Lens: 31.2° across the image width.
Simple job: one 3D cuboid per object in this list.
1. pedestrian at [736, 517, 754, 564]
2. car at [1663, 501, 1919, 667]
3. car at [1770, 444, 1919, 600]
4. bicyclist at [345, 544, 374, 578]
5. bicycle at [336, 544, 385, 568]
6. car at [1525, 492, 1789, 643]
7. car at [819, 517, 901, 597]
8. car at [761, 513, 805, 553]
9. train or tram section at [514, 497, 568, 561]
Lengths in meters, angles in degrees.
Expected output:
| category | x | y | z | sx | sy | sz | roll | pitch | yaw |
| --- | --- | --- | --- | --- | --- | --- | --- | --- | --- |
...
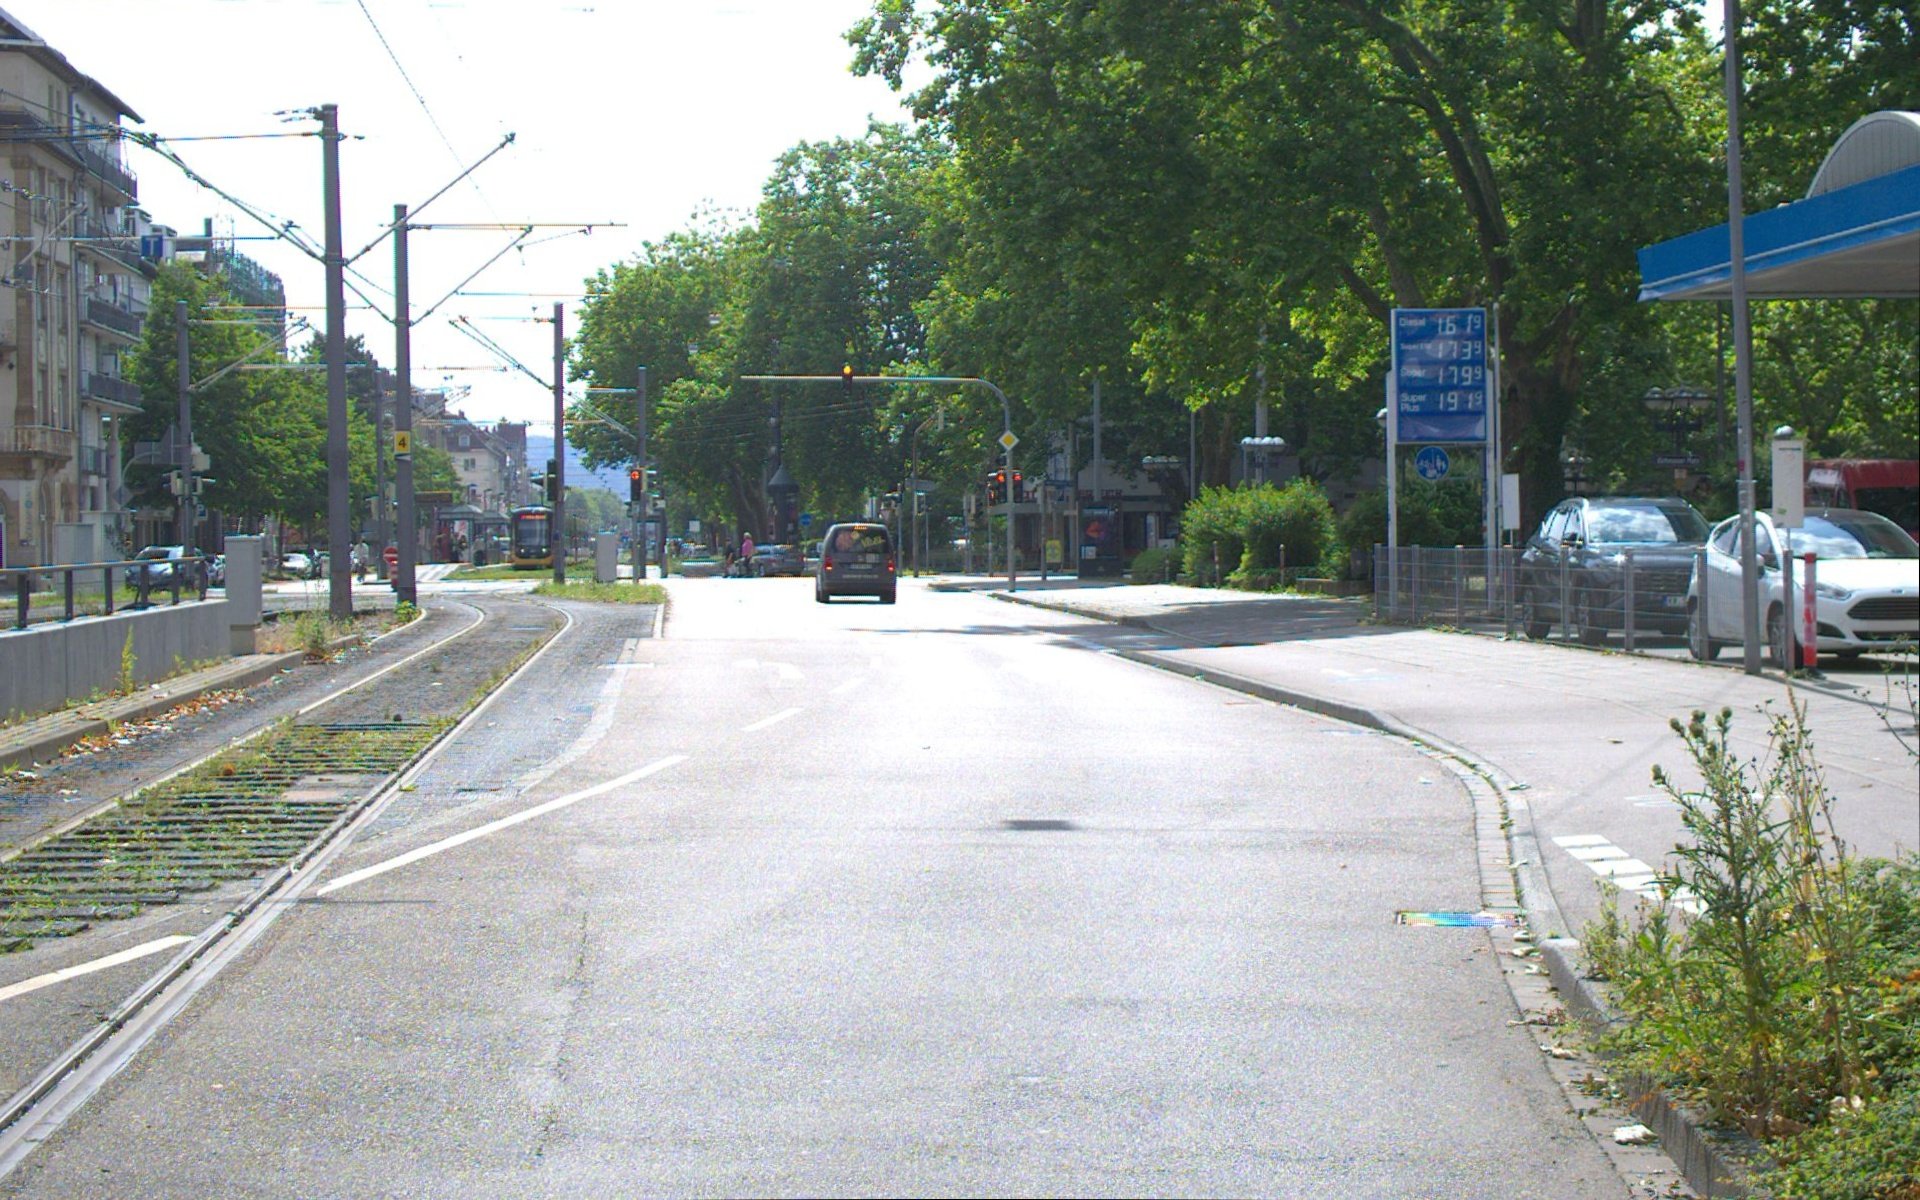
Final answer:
| category | x | y | z | sx | sy | sz | roll | pitch | yaw |
| --- | --- | --- | --- | --- | --- | --- | --- | --- | --- |
| pedestrian | -8.095 | -2.237 | 129.362 | 0.659 | 1.778 | 0.660 | -1 | 1 | -4 |
| car | 8.068 | -0.186 | 32.290 | 1.805 | 1.450 | 4.002 | 0 | 1 | -5 |
| car | 16.088 | -1.377 | 60.183 | 2.111 | 2.573 | 6.020 | -1 | 1 | -3 |
| bicyclist | -26.756 | -1.752 | 153.242 | 0.779 | 1.506 | 0.999 | 0 | 1 | 31 |
| bicycle | -26.734 | -1.966 | 153.385 | 0.895 | 1.045 | 2.305 | 0 | 1 | 30 |
| car | 7.803 | -0.395 | 38.893 | 1.805 | 1.597 | 4.583 | 0 | 1 | -3 |
| car | -2.340 | -1.004 | 80.058 | 1.750 | 1.802 | 3.475 | 1 | 1 | -4 |
| car | -7.978 | -3.017 | 154.894 | 1.863 | 1.746 | 4.001 | -1 | 1 | -4 |
| train or tram section | -22.890 | -3.874 | 188.286 | 2.240 | 3.320 | 12.973 | -1 | 1 | -4 |
